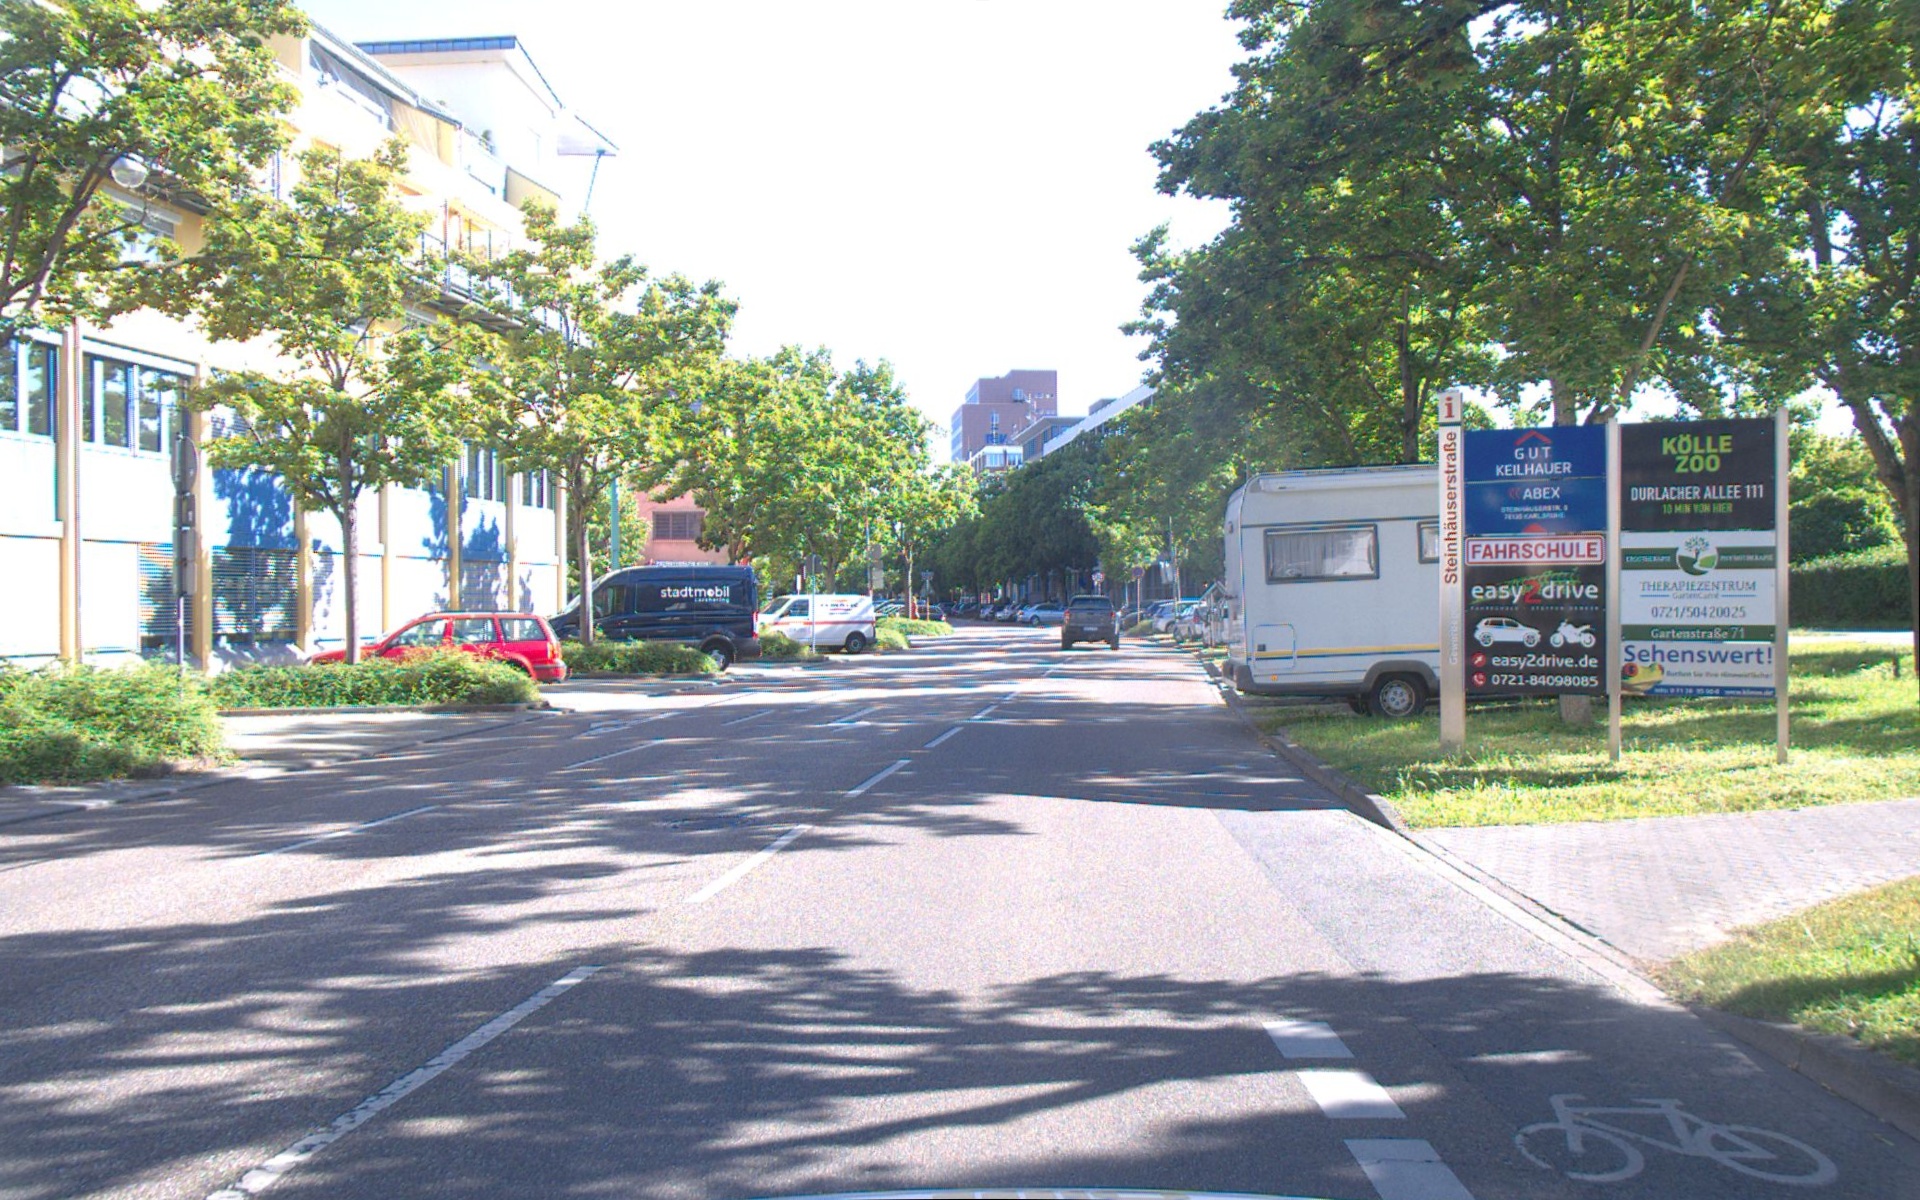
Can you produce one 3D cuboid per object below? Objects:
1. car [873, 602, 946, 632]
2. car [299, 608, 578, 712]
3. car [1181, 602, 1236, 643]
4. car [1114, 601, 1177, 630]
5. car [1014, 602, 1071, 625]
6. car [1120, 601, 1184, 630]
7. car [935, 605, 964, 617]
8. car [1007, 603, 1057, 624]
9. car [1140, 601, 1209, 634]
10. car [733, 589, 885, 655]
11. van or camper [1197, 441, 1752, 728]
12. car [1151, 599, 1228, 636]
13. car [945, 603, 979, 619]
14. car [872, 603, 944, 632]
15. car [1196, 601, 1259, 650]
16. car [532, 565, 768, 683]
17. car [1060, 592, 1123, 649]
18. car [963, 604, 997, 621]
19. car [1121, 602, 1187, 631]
[{"bbox_3d":[-2.724,0.885,88.797,3.806,1.389,1.409,-3,0,-3],"label":"car"},{"bbox_3d":[-8.796,0.974,28.032,4.341,1.579,1.911,-1,0,-19],"label":"car"},{"bbox_3d":[9.416,0.835,62.884,1.481,1.421,3.254,-3,0,-1],"label":"car"},{"bbox_3d":[9.808,0.817,87.523,3.176,1.299,1.517,-3,0,4],"label":"car"},{"bbox_3d":[5.862,0.975,117.865,3.869,1.421,1.515,-3,0,-3],"label":"car"},{"bbox_3d":[9.902,0.788,85.535,3.176,1.299,1.517,-3,0,4],"label":"car"},{"bbox_3d":[-1.167,1.220,187.138,3.150,1.249,1.262,-3,0,-3],"label":"car"},{"bbox_3d":[5.771,1.067,133.012,3.869,1.421,1.515,-3,0,-3],"label":"car"},{"bbox_3d":[10.370,0.834,80.240,3.176,1.421,1.517,-3,0,4],"label":"car"},{"bbox_3d":[-5.183,0.739,56.777,4.831,2.119,1.966,-1,0,-29],"label":"car"},{"bbox_3d":[6.045,-0.158,20.260,5.951,2.979,2.577,-3,-1,5],"label":"van or camper"},{"bbox_3d":[10.009,0.764,72.333,3.176,1.421,1.517,-3,0,4],"label":"car"},{"bbox_3d":[0.210,1.057,164.025,3.214,1.421,1.515,-3,0,-3],"label":"car"},{"bbox_3d":[-2.853,0.964,90.568,3.806,1.389,1.409,-3,0,-3],"label":"car"},{"bbox_3d":[8.979,0.836,55.627,1.481,1.508,3.254,-3,0,-1],"label":"car"},{"bbox_3d":[-7.259,0.528,38.709,5.183,2.590,1.974,-1,0,-20],"label":"car"},{"bbox_3d":[4.603,0.668,57.851,2.088,1.867,4.943,-1,0,5],"label":"car"},{"bbox_3d":[1.958,1.239,161.668,3.150,1.434,1.262,-3,0,-3],"label":"car"},{"bbox_3d":[9.740,0.836,83.307,3.176,1.299,1.517,-3,0,4],"label":"car"}]
